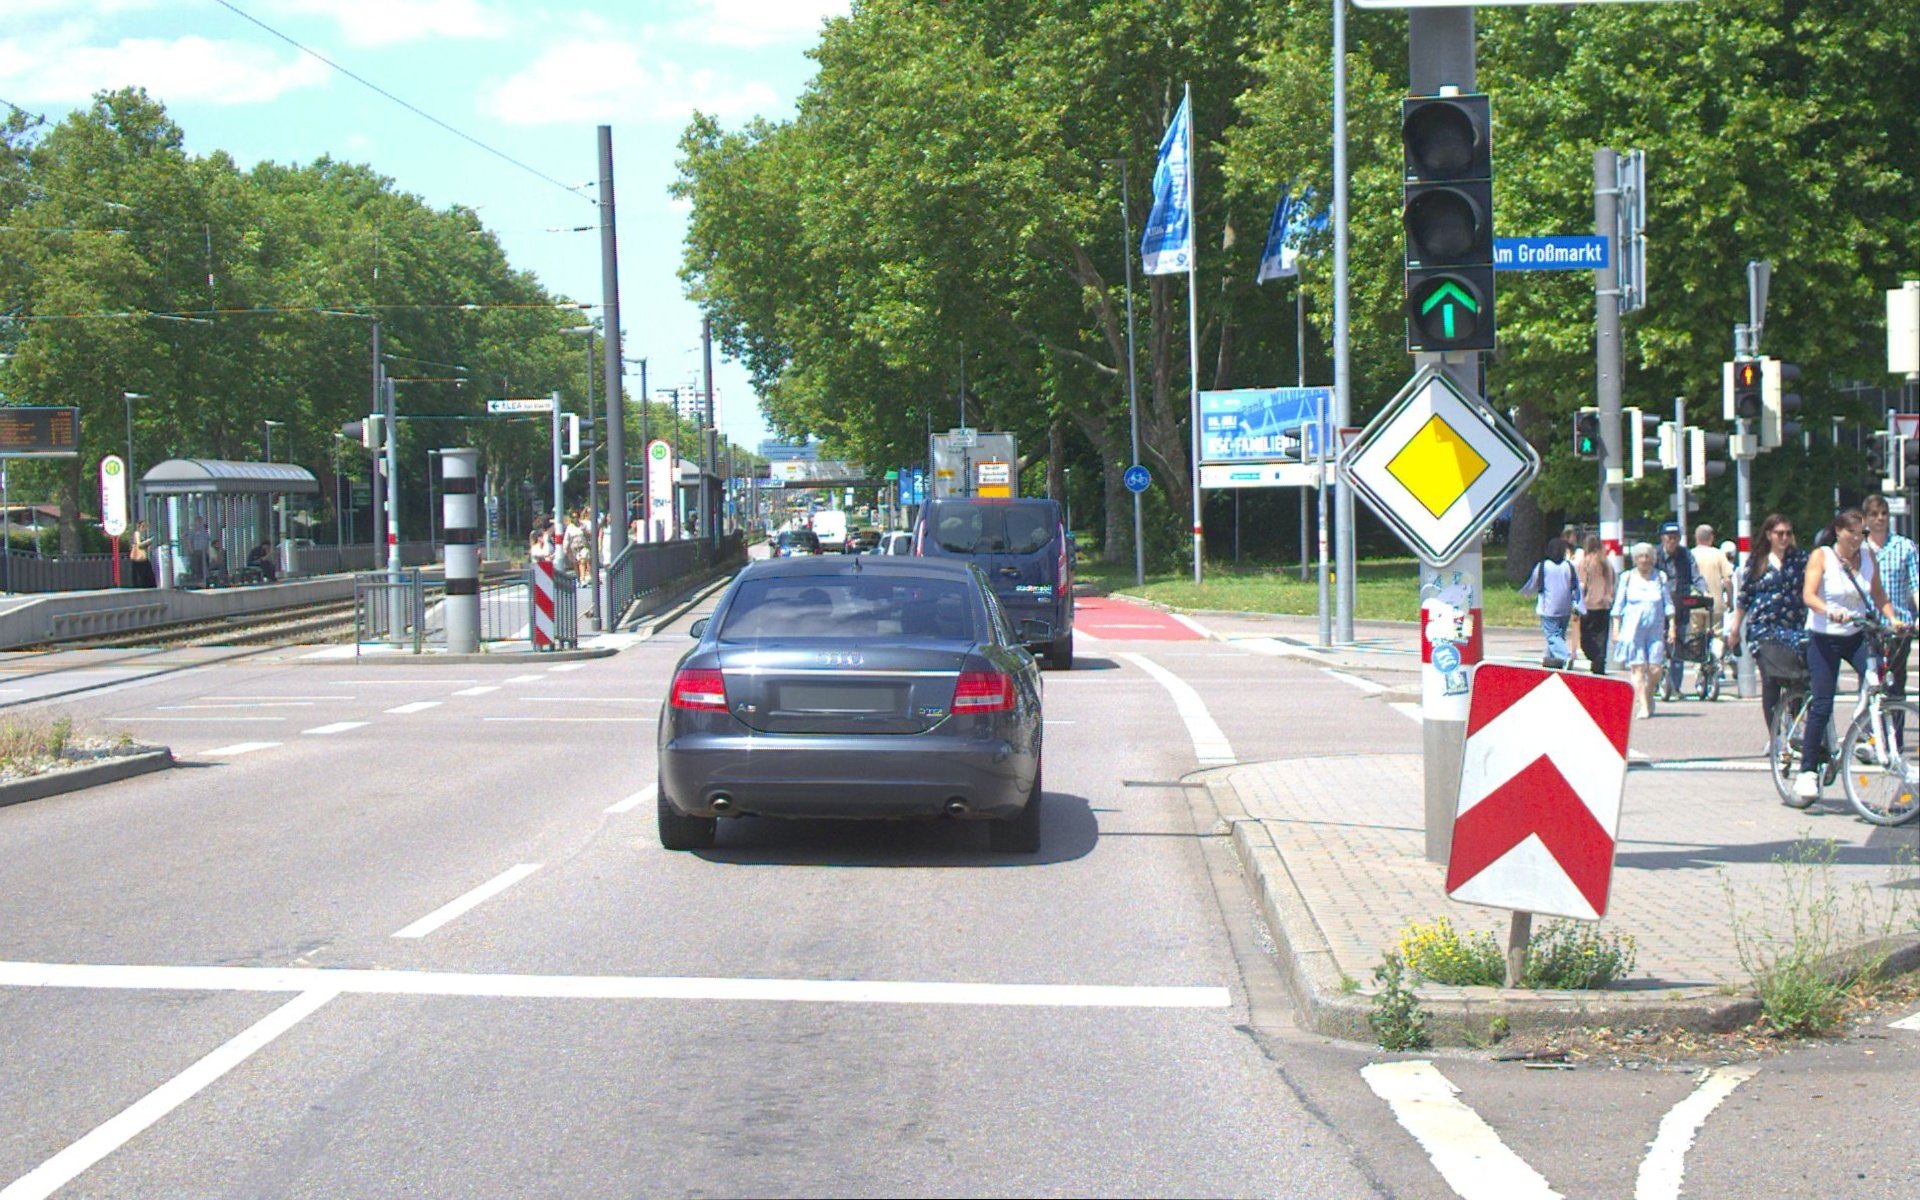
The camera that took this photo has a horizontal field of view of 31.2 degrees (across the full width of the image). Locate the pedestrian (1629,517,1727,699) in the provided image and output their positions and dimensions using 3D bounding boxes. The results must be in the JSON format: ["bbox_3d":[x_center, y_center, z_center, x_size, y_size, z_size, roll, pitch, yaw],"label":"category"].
[{"bbox_3d":[6.696,0.064,32.108,0.782,1.667,0.946,0,1,5],"label":"pedestrian"}]

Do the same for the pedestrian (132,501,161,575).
[{"bbox_3d":[-18.160,-1.390,76.759,0.557,1.632,0.807,-1,1,-9],"label":"pedestrian"}]

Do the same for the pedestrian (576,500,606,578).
[{"bbox_3d":[-7.938,-1.315,73.947,0.613,1.675,0.720,0,1,-4],"label":"pedestrian"}]

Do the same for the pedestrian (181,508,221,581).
[{"bbox_3d":[-18.161,-1.330,82.264,0.738,1.723,0.577,0,2,35],"label":"pedestrian"}]

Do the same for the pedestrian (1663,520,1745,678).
[{"bbox_3d":[7.883,-0.023,36.417,0.795,1.653,0.851,0,1,15],"label":"pedestrian"}]

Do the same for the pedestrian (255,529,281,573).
[{"bbox_3d":[-18.920,-1.353,93.948,0.576,1.186,0.639,-1,1,-1],"label":"pedestrian"}]

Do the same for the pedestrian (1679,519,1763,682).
[{"bbox_3d":[7.819,-0.006,35.293,0.795,1.653,0.851,0,1,15],"label":"pedestrian"}]

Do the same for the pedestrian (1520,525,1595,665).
[{"bbox_3d":[6.946,-0.073,39.953,0.766,1.600,0.896,0,1,16],"label":"pedestrian"}]

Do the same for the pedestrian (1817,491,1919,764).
[{"bbox_3d":[6.451,0.179,23.877,0.803,1.858,0.797,0,1,3],"label":"pedestrian"}]

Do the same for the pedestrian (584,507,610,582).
[{"bbox_3d":[-7.652,-1.180,72.513,0.497,1.572,0.557,-1,1,-3],"label":"pedestrian"}]

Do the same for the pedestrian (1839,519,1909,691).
[{"bbox_3d":[8.781,0.046,33.052,0.602,1.632,0.863,0,0,12],"label":"pedestrian"}]

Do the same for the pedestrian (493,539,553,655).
[{"bbox_3d":[-5.939,-0.050,46.746,0.785,1.567,0.765,0,1,-5],"label":"pedestrian"}]

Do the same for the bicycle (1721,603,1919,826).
[{"bbox_3d":[5.024,0.619,19.460,0.829,1.158,1.879,0,1,-6],"label":"bicycle"}]

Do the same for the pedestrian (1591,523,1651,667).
[{"bbox_3d":[7.779,-0.071,40.438,0.623,1.677,0.725,0,1,16],"label":"pedestrian"}]

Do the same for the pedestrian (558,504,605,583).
[{"bbox_3d":[-7.780,-1.171,70.709,0.890,1.599,0.924,0,2,-3],"label":"pedestrian"}]

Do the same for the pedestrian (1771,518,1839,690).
[{"bbox_3d":[8.161,0.036,33.222,0.606,1.632,0.863,0,0,12],"label":"pedestrian"}]

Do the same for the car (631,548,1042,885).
[{"bbox_3d":[-0.553,0.495,17.486,1.842,1.479,4.000,0,1,0],"label":"car"}]

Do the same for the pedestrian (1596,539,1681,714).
[{"bbox_3d":[5.835,0.220,29.586,0.589,1.471,0.806,1,1,4],"label":"pedestrian"}]

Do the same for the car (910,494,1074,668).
[{"bbox_3d":[0.351,-0.260,41.058,1.848,1.953,4.145,0,1,0],"label":"car"}]

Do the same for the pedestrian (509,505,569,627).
[{"bbox_3d":[-6.252,-0.506,51.125,0.862,1.796,0.884,0,1,-6],"label":"pedestrian"}]

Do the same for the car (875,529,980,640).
[{"bbox_3d":[-0.597,-0.322,63.382,1.848,1.953,4.145,0,1,0],"label":"car"}]

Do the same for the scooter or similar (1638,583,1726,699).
[{"bbox_3d":[6.642,0.370,31.636,0.690,1.027,0.863,0,1,5],"label":"scooter or similar"}]

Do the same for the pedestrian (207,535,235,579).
[{"bbox_3d":[-18.558,-1.078,86.357,0.576,1.091,0.639,-1,1,-1],"label":"pedestrian"}]

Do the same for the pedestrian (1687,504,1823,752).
[{"bbox_3d":[5.720,0.187,24.766,0.803,1.753,0.797,0,1,3],"label":"pedestrian"}]

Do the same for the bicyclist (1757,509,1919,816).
[{"bbox_3d":[5.030,0.338,19.377,0.813,1.695,0.799,0,1,-6],"label":"bicyclist"}]
